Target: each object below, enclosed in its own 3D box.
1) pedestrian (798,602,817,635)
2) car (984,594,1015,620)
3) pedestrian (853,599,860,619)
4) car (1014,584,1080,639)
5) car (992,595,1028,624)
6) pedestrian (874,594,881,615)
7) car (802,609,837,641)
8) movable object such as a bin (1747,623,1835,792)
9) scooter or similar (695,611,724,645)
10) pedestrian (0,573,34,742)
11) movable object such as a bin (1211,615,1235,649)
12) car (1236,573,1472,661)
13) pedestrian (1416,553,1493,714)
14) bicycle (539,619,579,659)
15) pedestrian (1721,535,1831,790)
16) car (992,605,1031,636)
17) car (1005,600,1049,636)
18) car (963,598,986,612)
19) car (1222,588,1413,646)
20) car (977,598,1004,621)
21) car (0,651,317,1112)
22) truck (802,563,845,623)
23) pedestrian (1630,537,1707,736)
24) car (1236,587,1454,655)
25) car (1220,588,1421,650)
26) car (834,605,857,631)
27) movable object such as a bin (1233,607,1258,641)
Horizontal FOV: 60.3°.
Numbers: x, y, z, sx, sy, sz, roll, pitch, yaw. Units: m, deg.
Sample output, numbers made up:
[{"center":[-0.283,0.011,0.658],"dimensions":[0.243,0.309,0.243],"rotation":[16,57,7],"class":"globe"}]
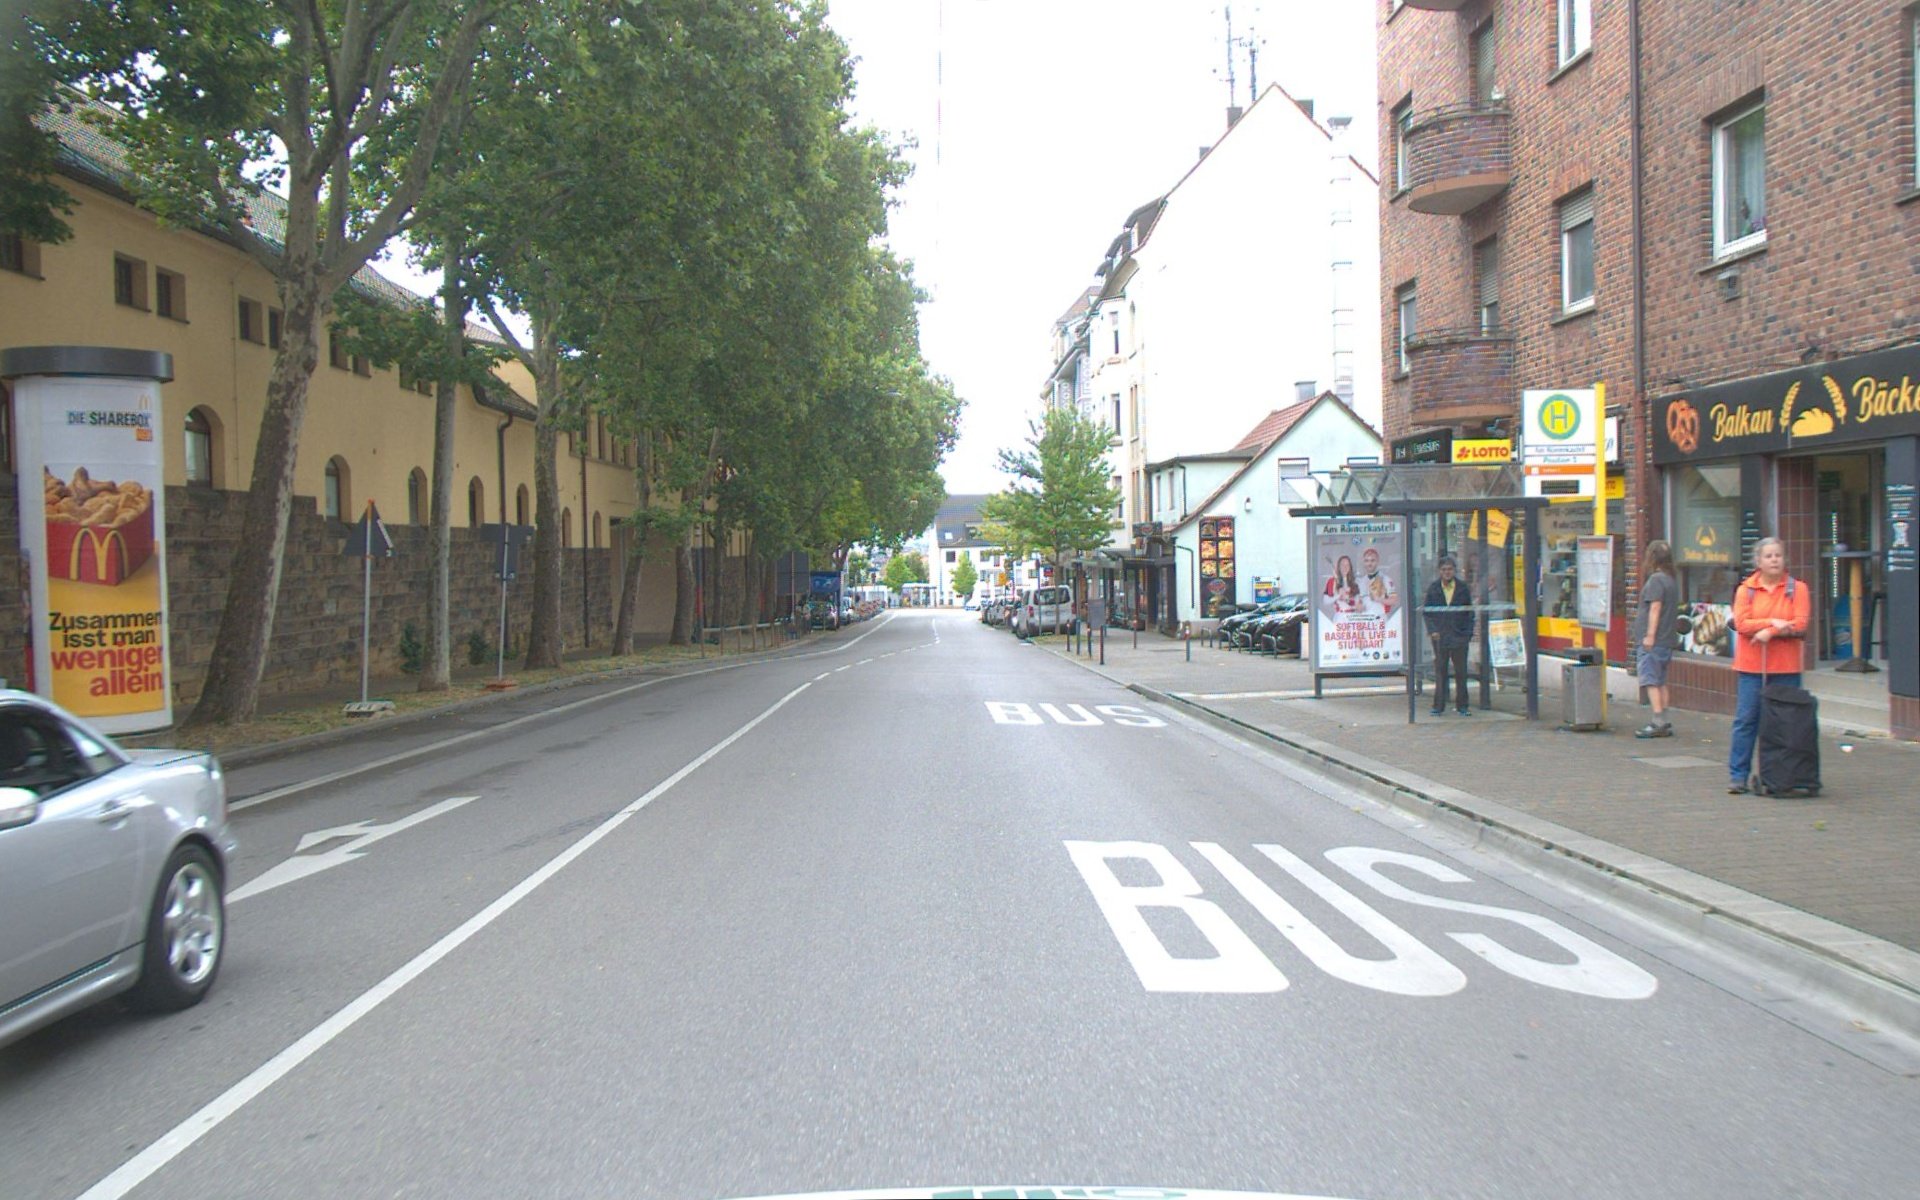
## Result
[{"center":[-7.303,0.878,79.275],"dimensions":[0.667,1.563,0.603],"rotation":[-1,0,-35],"class":"pedestrian"},{"center":[2.477,0.408,104.362],"dimensions":[1.636,1.574,3.753],"rotation":[-1,0,-4],"class":"car"},{"center":[-10.581,0.950,169.058],"dimensions":[0.620,2.030,0.784],"rotation":[-1,0,0],"class":"pedestrian"},{"center":[3.293,0.425,63.526],"dimensions":[1.954,1.969,4.915],"rotation":[-1,0,-4],"class":"car"},{"center":[2.811,0.546,93.443],"dimensions":[1.636,1.574,3.753],"rotation":[-1,0,-4],"class":"car"},{"center":[-8.089,0.410,162.692],"dimensions":[0.620,2.049,0.784],"rotation":[-1,0,0],"class":"pedestrian"},{"center":[-7.656,1.345,90.061],"dimensions":[1.798,1.605,3.753],"rotation":[-1,0,-4],"class":"car"},{"center":[5.452,0.698,10.871],"dimensions":[0.443,1.075,0.410],"rotation":[-1,0,19],"class":"movable object such as a bin"},{"center":[-9.121,1.012,60.181],"dimensions":[1.010,1.205,0.490],"rotation":[-1,0,-10],"class":"scooter or similar"},{"center":[-10.787,0.631,18.127],"dimensions":[0.761,1.826,0.874],"rotation":[-1,0,-1],"class":"pedestrian"},{"center":[8.472,1.019,53.301],"dimensions":[0.684,1.059,0.645],"rotation":[-1,0,0],"class":"movable object such as a bin"},{"center":[8.926,0.387,37.514],"dimensions":[4.807,1.702,1.998],"rotation":[-3,-1,27],"class":"car"},{"center":[5.528,0.368,18.518],"dimensions":[0.656,1.758,0.764],"rotation":[-1,0,4],"class":"pedestrian"},{"center":[-11.815,1.131,48.802],"dimensions":[0.584,1.110,2.195],"rotation":[1,0,0],"class":"bicycle"},{"center":[5.507,0.409,11.192],"dimensions":[0.553,1.665,0.681],"rotation":[-1,0,19],"class":"pedestrian"},{"center":[2.691,1.046,86.865],"dimensions":[1.636,1.574,3.753],"rotation":[-1,0,-4],"class":"car"},{"center":[3.093,0.823,76.849],"dimensions":[1.636,1.574,3.753],"rotation":[-1,0,-4],"class":"car"},{"center":[1.621,0.606,185.806],"dimensions":[1.824,1.515,3.883],"rotation":[-1,0,13],"class":"car"},{"center":[9.781,0.464,45.270],"dimensions":[4.806,1.495,1.928],"rotation":[-1,0,26],"class":"car"},{"center":[2.146,0.638,117.100],"dimensions":[1.636,1.574,3.753],"rotation":[-1,0,-4],"class":"car"},{"center":[-3.651,0.899,5.061],"dimensions":[1.651,1.298,4.095],"rotation":[-4,-1,1],"class":"car"},{"center":[-8.157,-0.414,99.376],"dimensions":[2.186,3.405,7.446],"rotation":[-1,0,-2],"class":"truck"},{"center":[6.508,0.331,15.206],"dimensions":[0.469,1.796,0.458],"rotation":[-1,-1,-1],"class":"pedestrian"},{"center":[9.311,0.503,40.079],"dimensions":[4.808,1.567,1.998],"rotation":[-1,0,28],"class":"car"},{"center":[9.311,0.505,42.796],"dimensions":[4.804,1.519,1.854],"rotation":[-1,0,24],"class":"car"},{"center":[-7.674,1.185,111.001],"dimensions":[1.503,1.667,3.716],"rotation":[-1,0,-4],"class":"car"},{"center":[9.214,0.776,53.359],"dimensions":[0.684,1.059,0.645],"rotation":[-1,0,0],"class":"movable object such as a bin"}]
